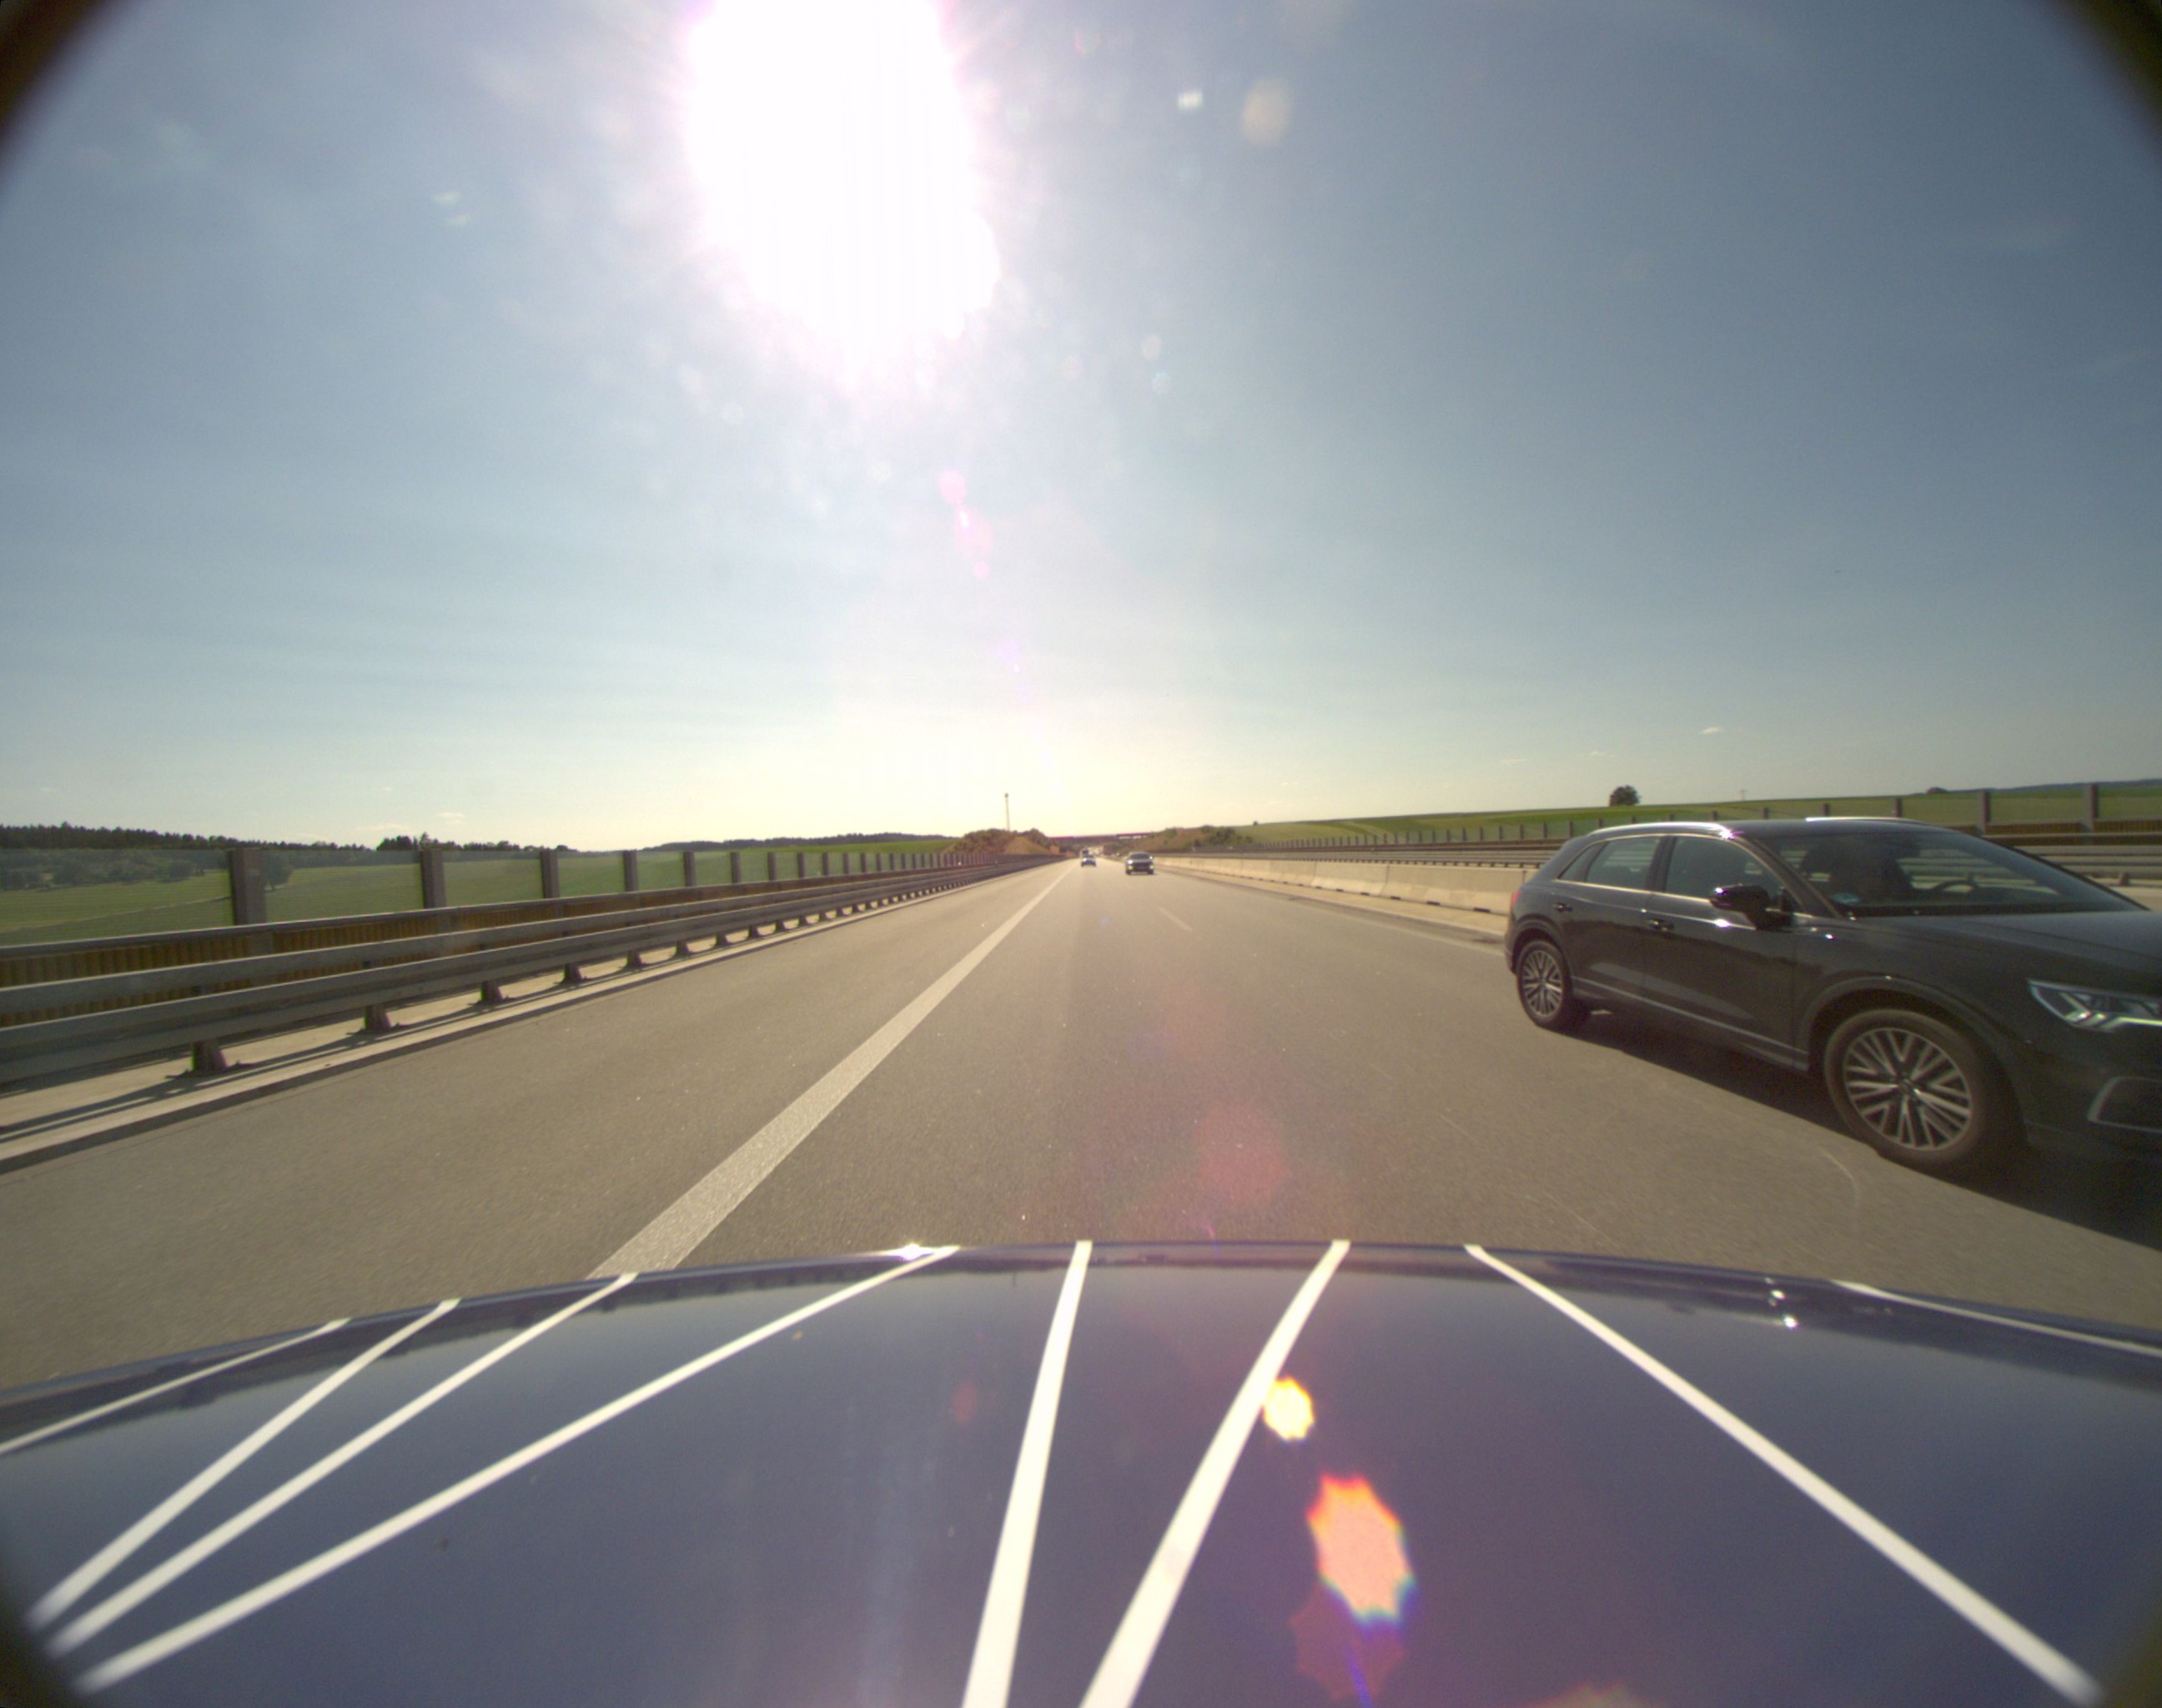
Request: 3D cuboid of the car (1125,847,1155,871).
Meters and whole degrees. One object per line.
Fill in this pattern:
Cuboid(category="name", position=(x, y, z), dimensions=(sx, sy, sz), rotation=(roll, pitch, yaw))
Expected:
Cuboid(category="car", position=(4.145, 0.332, 53.747), dimensions=(1.776, 1.560, 4.988), rotation=(-2, 1, 1))

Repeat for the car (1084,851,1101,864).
Cuboid(category="car", position=(1.364, 0.445, 91.116), dimensions=(1.909, 1.449, 4.375), rotation=(-2, 1, 2))

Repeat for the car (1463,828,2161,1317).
Cuboid(category="car", position=(4.432, 0.686, 4.523), dimensions=(1.726, 1.578, 5.221), rotation=(-2, 1, 1))

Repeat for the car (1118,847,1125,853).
Cuboid(category="car", position=(14.272, -1.324, 267.417), dimensions=(1.998, 2.002, 4.761), rotation=(-2, 1, 2))
